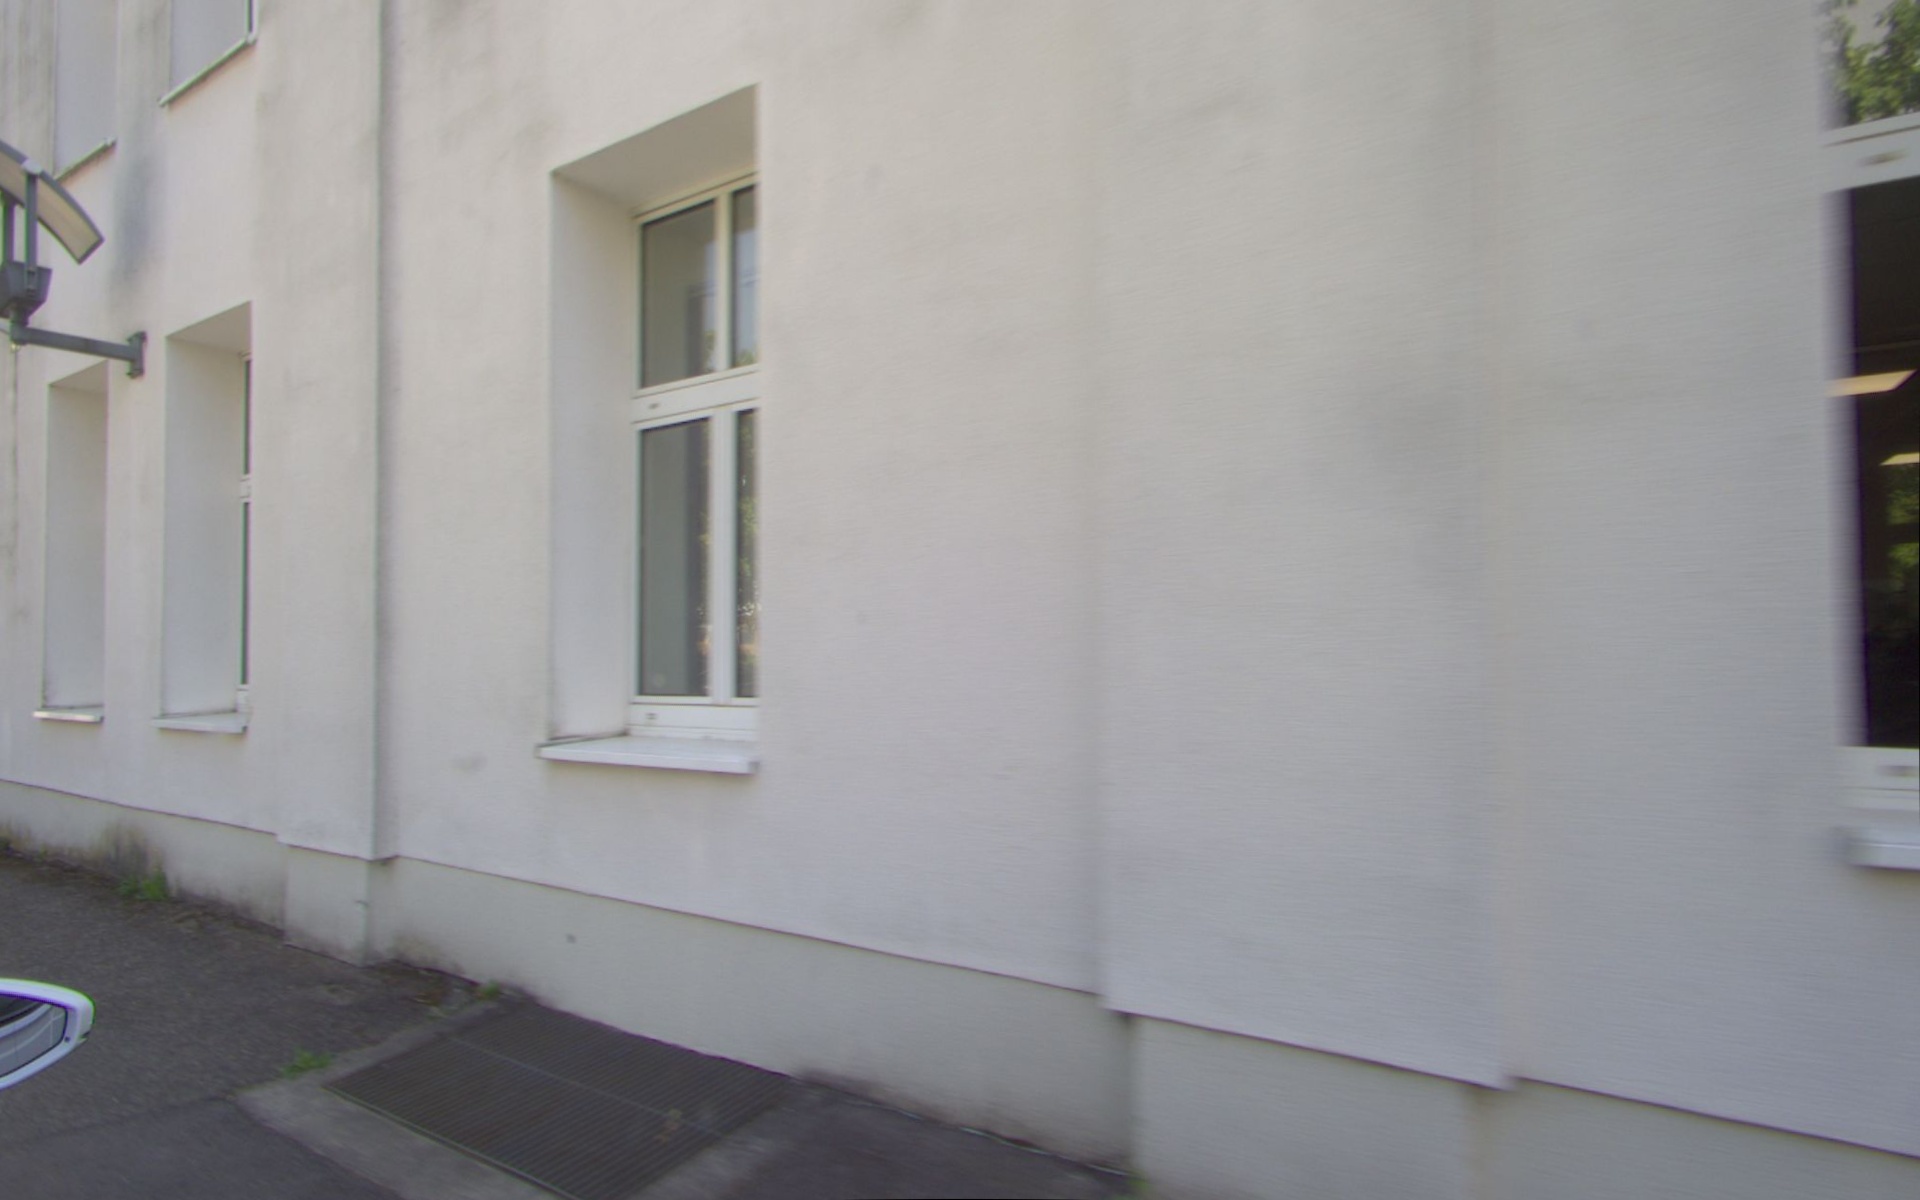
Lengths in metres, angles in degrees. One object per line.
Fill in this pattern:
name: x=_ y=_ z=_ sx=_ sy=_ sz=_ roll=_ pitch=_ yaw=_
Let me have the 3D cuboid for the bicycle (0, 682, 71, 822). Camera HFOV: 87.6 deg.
bicycle: x=-8.363 y=1.283 z=8.766 sx=1.801 sy=1.115 sz=0.404 roll=-3 pitch=-3 yaw=33

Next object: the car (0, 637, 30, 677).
car: x=-57.316 y=3.405 z=59.641 sx=2.164 sy=2.286 sz=4.838 roll=1 pitch=-3 yaw=-35
